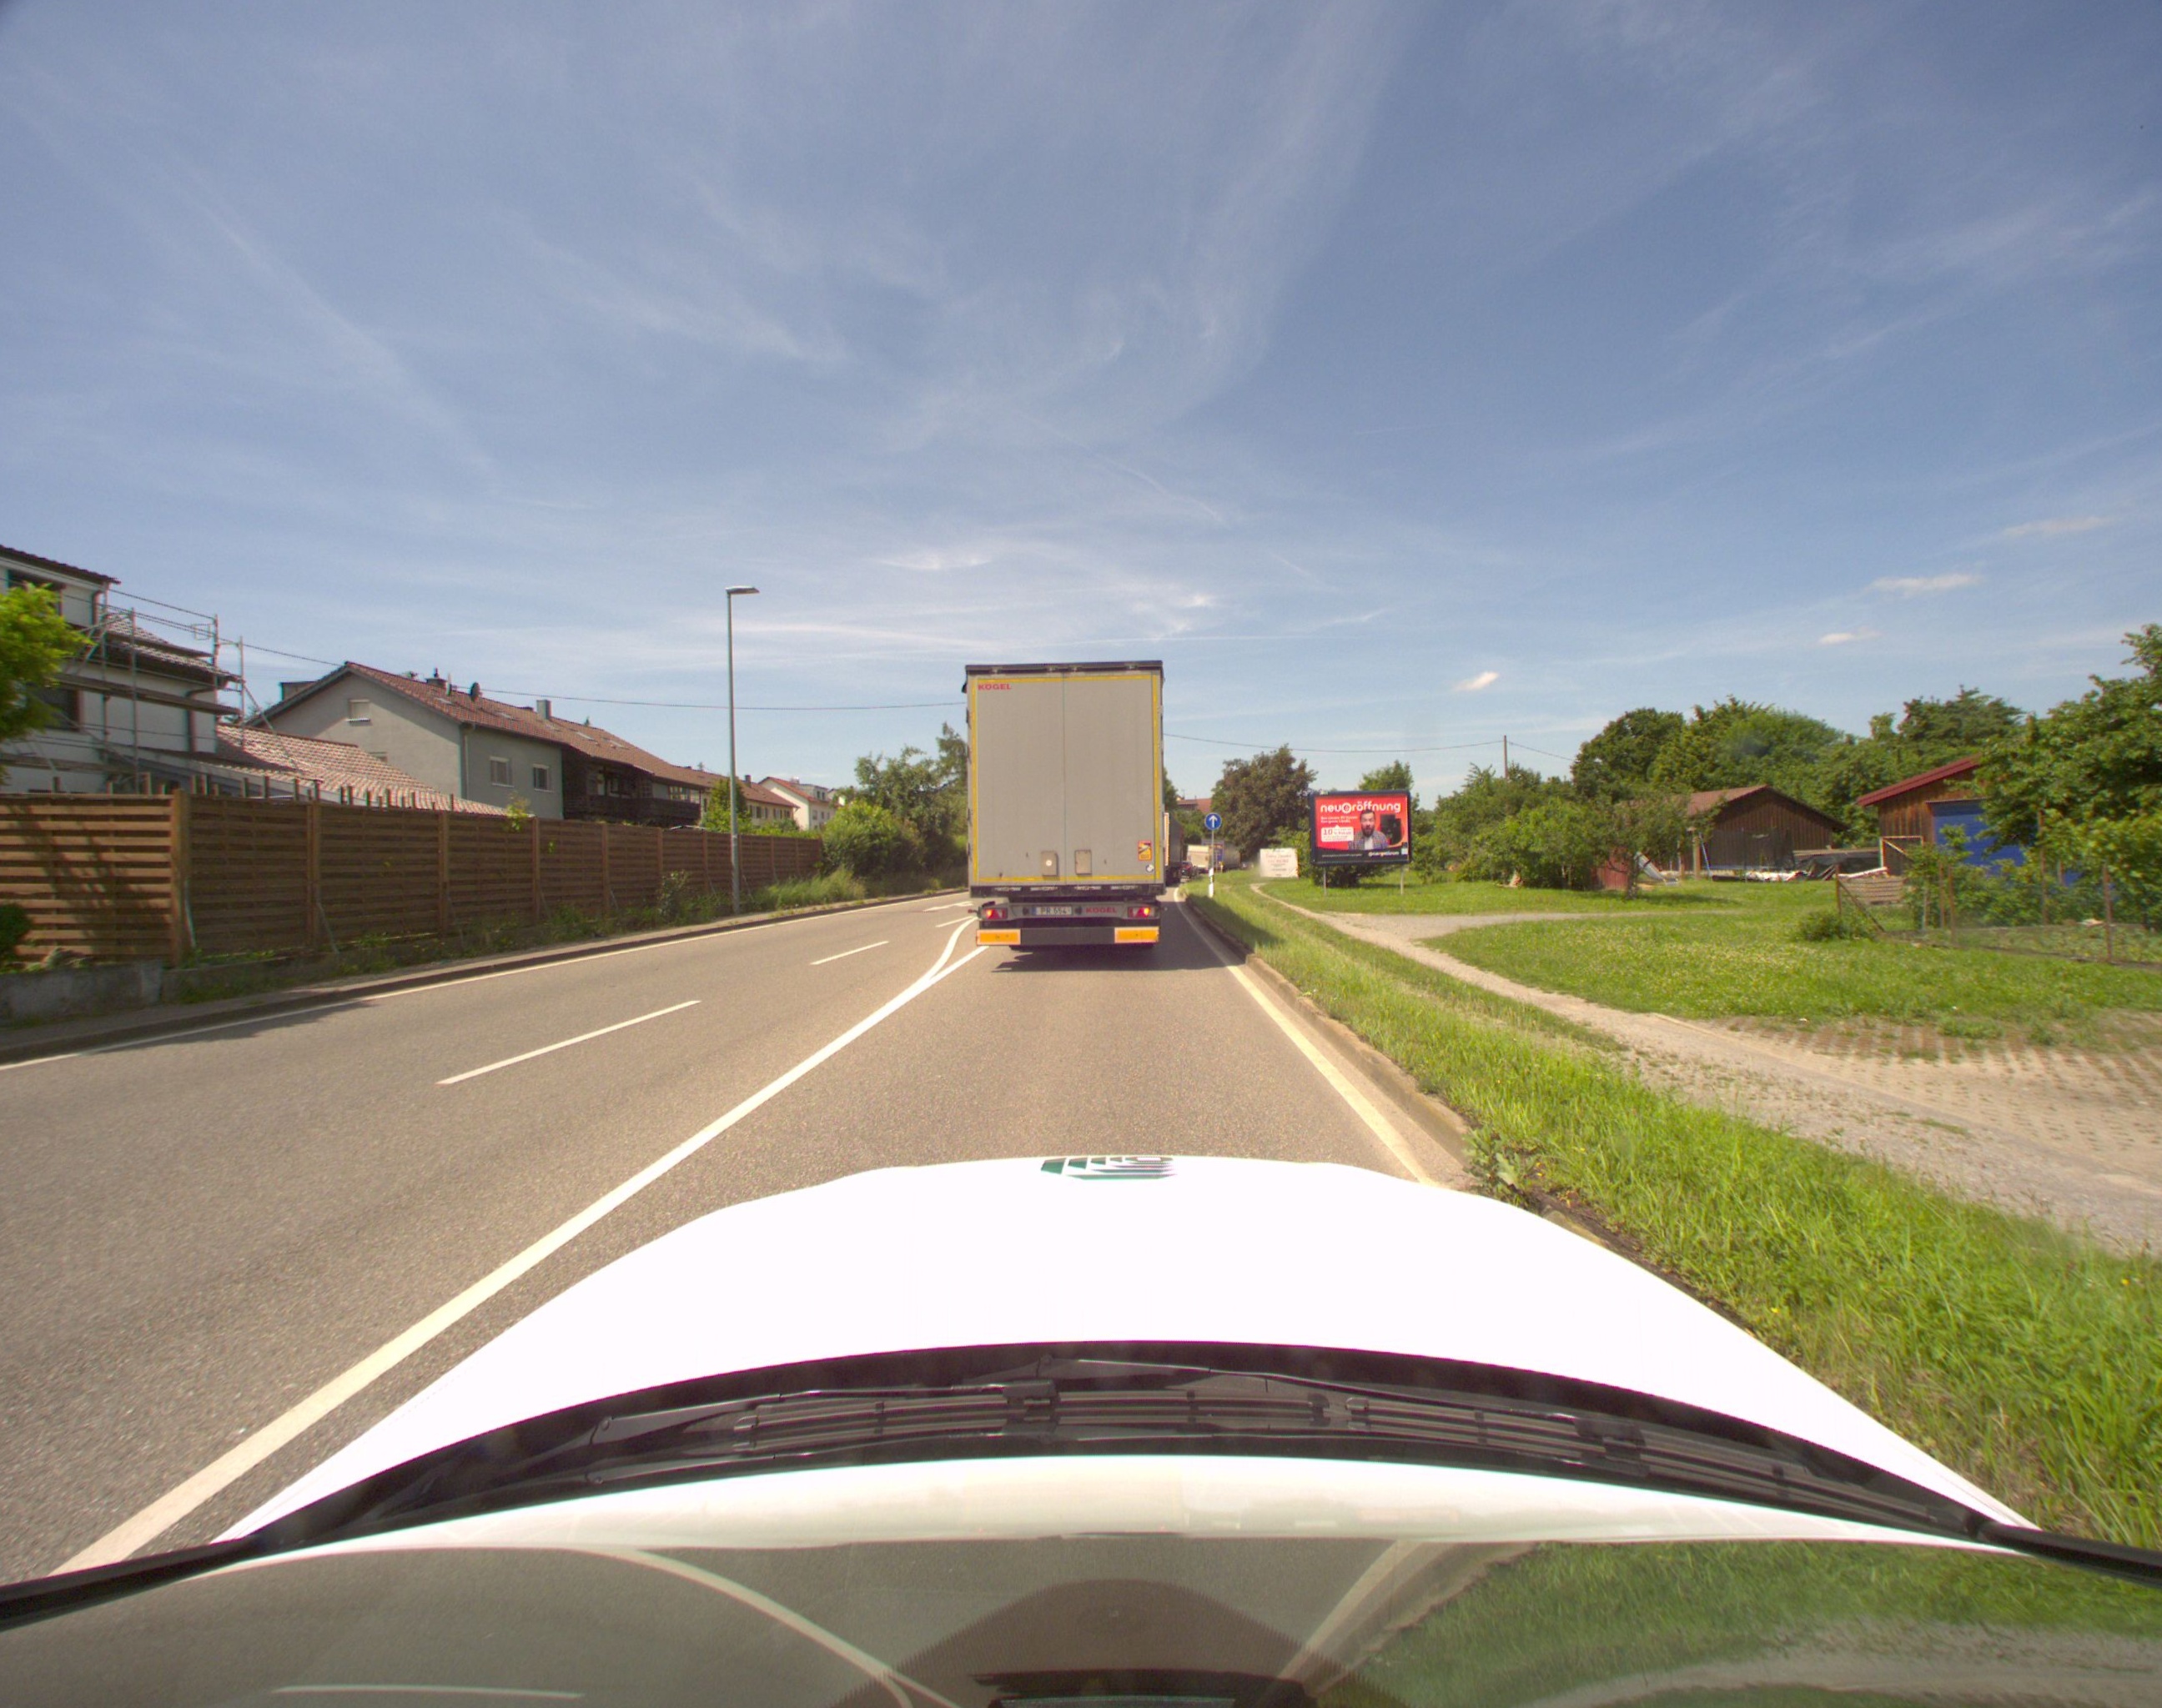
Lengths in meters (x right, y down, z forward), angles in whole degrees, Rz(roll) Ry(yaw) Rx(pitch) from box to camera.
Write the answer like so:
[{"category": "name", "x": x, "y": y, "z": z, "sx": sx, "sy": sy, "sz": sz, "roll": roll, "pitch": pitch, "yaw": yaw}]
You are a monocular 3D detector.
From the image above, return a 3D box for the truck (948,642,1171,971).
[{"category": "truck", "x": 0.133, "y": -0.607, "z": 16.023, "sx": 2.809, "sy": 4.127, "sz": 11.456, "roll": 0, "pitch": 0, "yaw": 4}]

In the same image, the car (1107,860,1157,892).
[{"category": "car", "x": 2.279, "y": 0.942, "z": 35.690, "sx": 1.808, "sy": 1.346, "sz": 3.857, "roll": 0, "pitch": -1, "yaw": 9}]

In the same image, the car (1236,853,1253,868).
[{"category": "car", "x": 22.869, "y": 0.928, "z": 113.846, "sx": 1.978, "sy": 2.014, "sz": 4.018, "roll": -1, "pitch": -1, "yaw": 17}]

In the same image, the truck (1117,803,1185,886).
[{"category": "truck", "x": 4.697, "y": -0.371, "z": 50.648, "sx": 2.743, "sy": 4.289, "sz": 16.460, "roll": 0, "pitch": -1, "yaw": 10}]

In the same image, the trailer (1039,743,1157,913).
[{"category": "trailer", "x": 0.655, "y": -0.641, "z": 23.153, "sx": 2.812, "sy": 4.111, "sz": 6.552, "roll": -1, "pitch": 0, "yaw": 4}]

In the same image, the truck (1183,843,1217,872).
[{"category": "truck", "x": 11.923, "y": 0.394, "z": 81.403, "sx": 2.524, "sy": 2.803, "sz": 6.057, "roll": 0, "pitch": -1, "yaw": 16}]

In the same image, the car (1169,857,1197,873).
[{"category": "car", "x": 8.911, "y": 0.972, "z": 70.867, "sx": 1.979, "sy": 1.376, "sz": 4.014, "roll": 0, "pitch": -1, "yaw": 14}]

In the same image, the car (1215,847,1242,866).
[{"category": "car", "x": 18.393, "y": 0.286, "z": 101.080, "sx": 2.512, "sy": 2.277, "sz": 6.410, "roll": -1, "pitch": 0, "yaw": 17}]

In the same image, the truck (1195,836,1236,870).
[{"category": "truck", "x": 15.443, "y": -0.167, "z": 92.735, "sx": 3.406, "sy": 3.604, "sz": 9.395, "roll": 0, "pitch": 0, "yaw": 17}]
